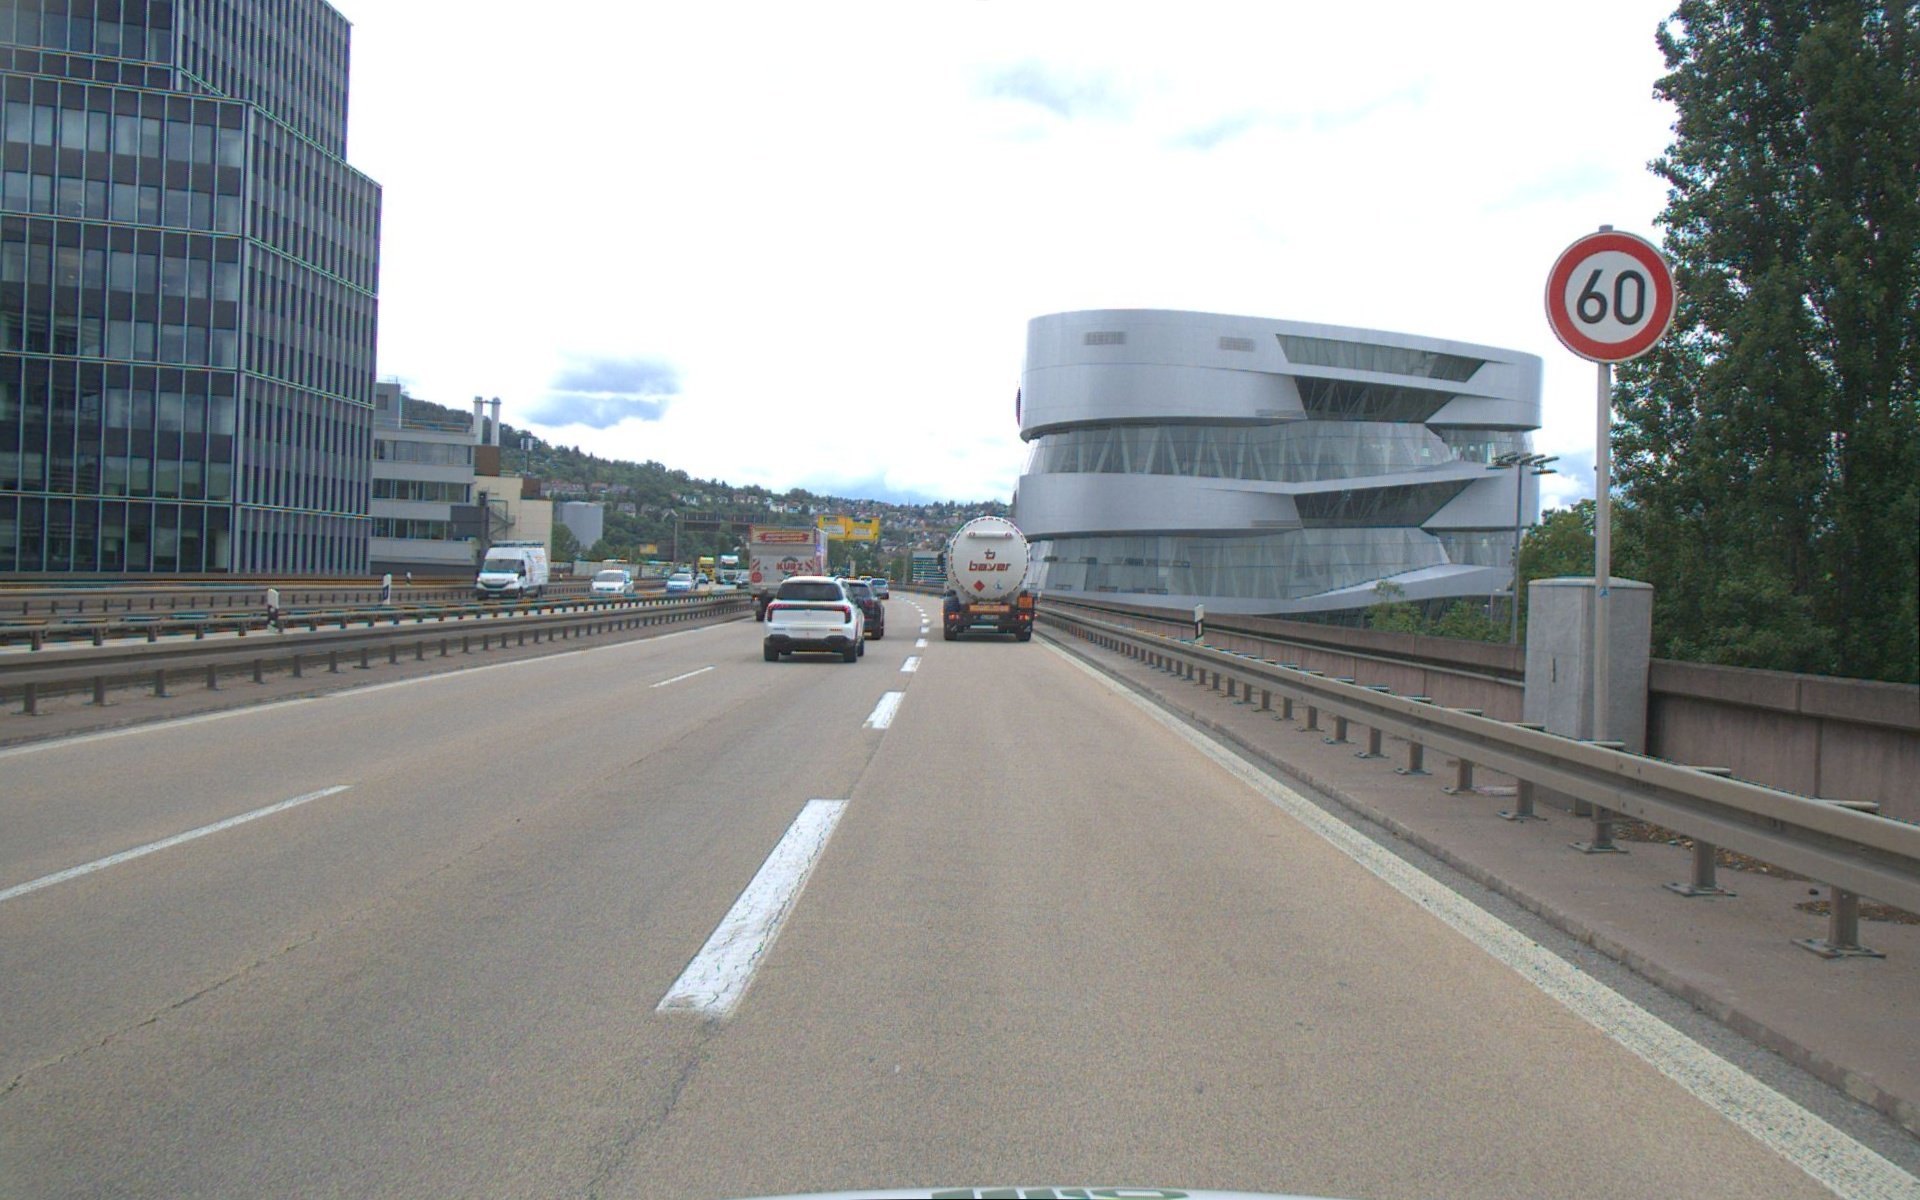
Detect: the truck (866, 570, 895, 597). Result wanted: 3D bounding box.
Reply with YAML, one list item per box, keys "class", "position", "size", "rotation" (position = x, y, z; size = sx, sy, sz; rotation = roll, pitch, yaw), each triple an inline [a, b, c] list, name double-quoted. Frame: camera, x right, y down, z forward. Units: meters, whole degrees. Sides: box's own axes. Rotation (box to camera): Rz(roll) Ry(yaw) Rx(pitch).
- class: "truck"
  position: [-6.567, -1.345, 136.928]
  size: [2.210, 2.201, 5.068]
  rotation: [1, 0, -1]

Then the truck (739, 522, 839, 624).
- class: "truck"
  position: [-6.685, -1.019, 65.811]
  size: [2.994, 3.755, 8.304]
  rotation: [1, 0, 1]

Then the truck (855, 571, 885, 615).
- class: "truck"
  position: [-9.759, -0.745, 178.744]
  size: [2.997, 4.642, 8.295]
  rotation: [1, 0, -5]

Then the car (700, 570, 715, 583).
- class: "car"
  position: [-35.667, -3.339, 233.857]
  size: [1.650, 1.679, 4.355]
  rotation: [2, 0, -5]

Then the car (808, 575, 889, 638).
- class: "car"
  position: [-3.120, 0.177, 47.235]
  size: [1.952, 1.704, 4.408]
  rotation: [1, 0, 0]

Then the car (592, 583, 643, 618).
- class: "car"
  position: [-17.471, 0.035, 84.511]
  size: [1.648, 1.679, 4.312]
  rotation: [2, 0, 0]

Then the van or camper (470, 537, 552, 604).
- class: "van or camper"
  position: [-21.559, -1.402, 79.746]
  size: [2.127, 3.061, 7.116]
  rotation: [1, 0, -1]

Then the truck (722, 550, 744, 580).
- class: "truck"
  position: [-32.497, -4.949, 237.042]
  size: [2.718, 4.151, 5.640]
  rotation: [1, 0, -5]

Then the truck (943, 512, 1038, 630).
- class: "truck"
  position: [0.995, -0.914, 55.680]
  size: [2.952, 3.721, 6.273]
  rotation: [1, 0, 0]

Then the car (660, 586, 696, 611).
- class: "car"
  position: [-19.471, -0.100, 114.261]
  size: [1.648, 1.679, 4.448]
  rotation: [2, 0, 0]

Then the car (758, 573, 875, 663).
- class: "car"
  position: [-2.873, 0.346, 34.062]
  size: [1.952, 1.704, 4.408]
  rotation: [1, 0, 0]

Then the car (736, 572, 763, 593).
- class: "car"
  position: [-17.841, -1.459, 140.385]
  size: [1.726, 1.679, 4.334]
  rotation: [3, 0, 0]

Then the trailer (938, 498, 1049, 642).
- class: "trailer"
  position: [0.956, -0.814, 49.181]
  size: [2.994, 3.856, 8.304]
  rotation: [1, 0, 1]
